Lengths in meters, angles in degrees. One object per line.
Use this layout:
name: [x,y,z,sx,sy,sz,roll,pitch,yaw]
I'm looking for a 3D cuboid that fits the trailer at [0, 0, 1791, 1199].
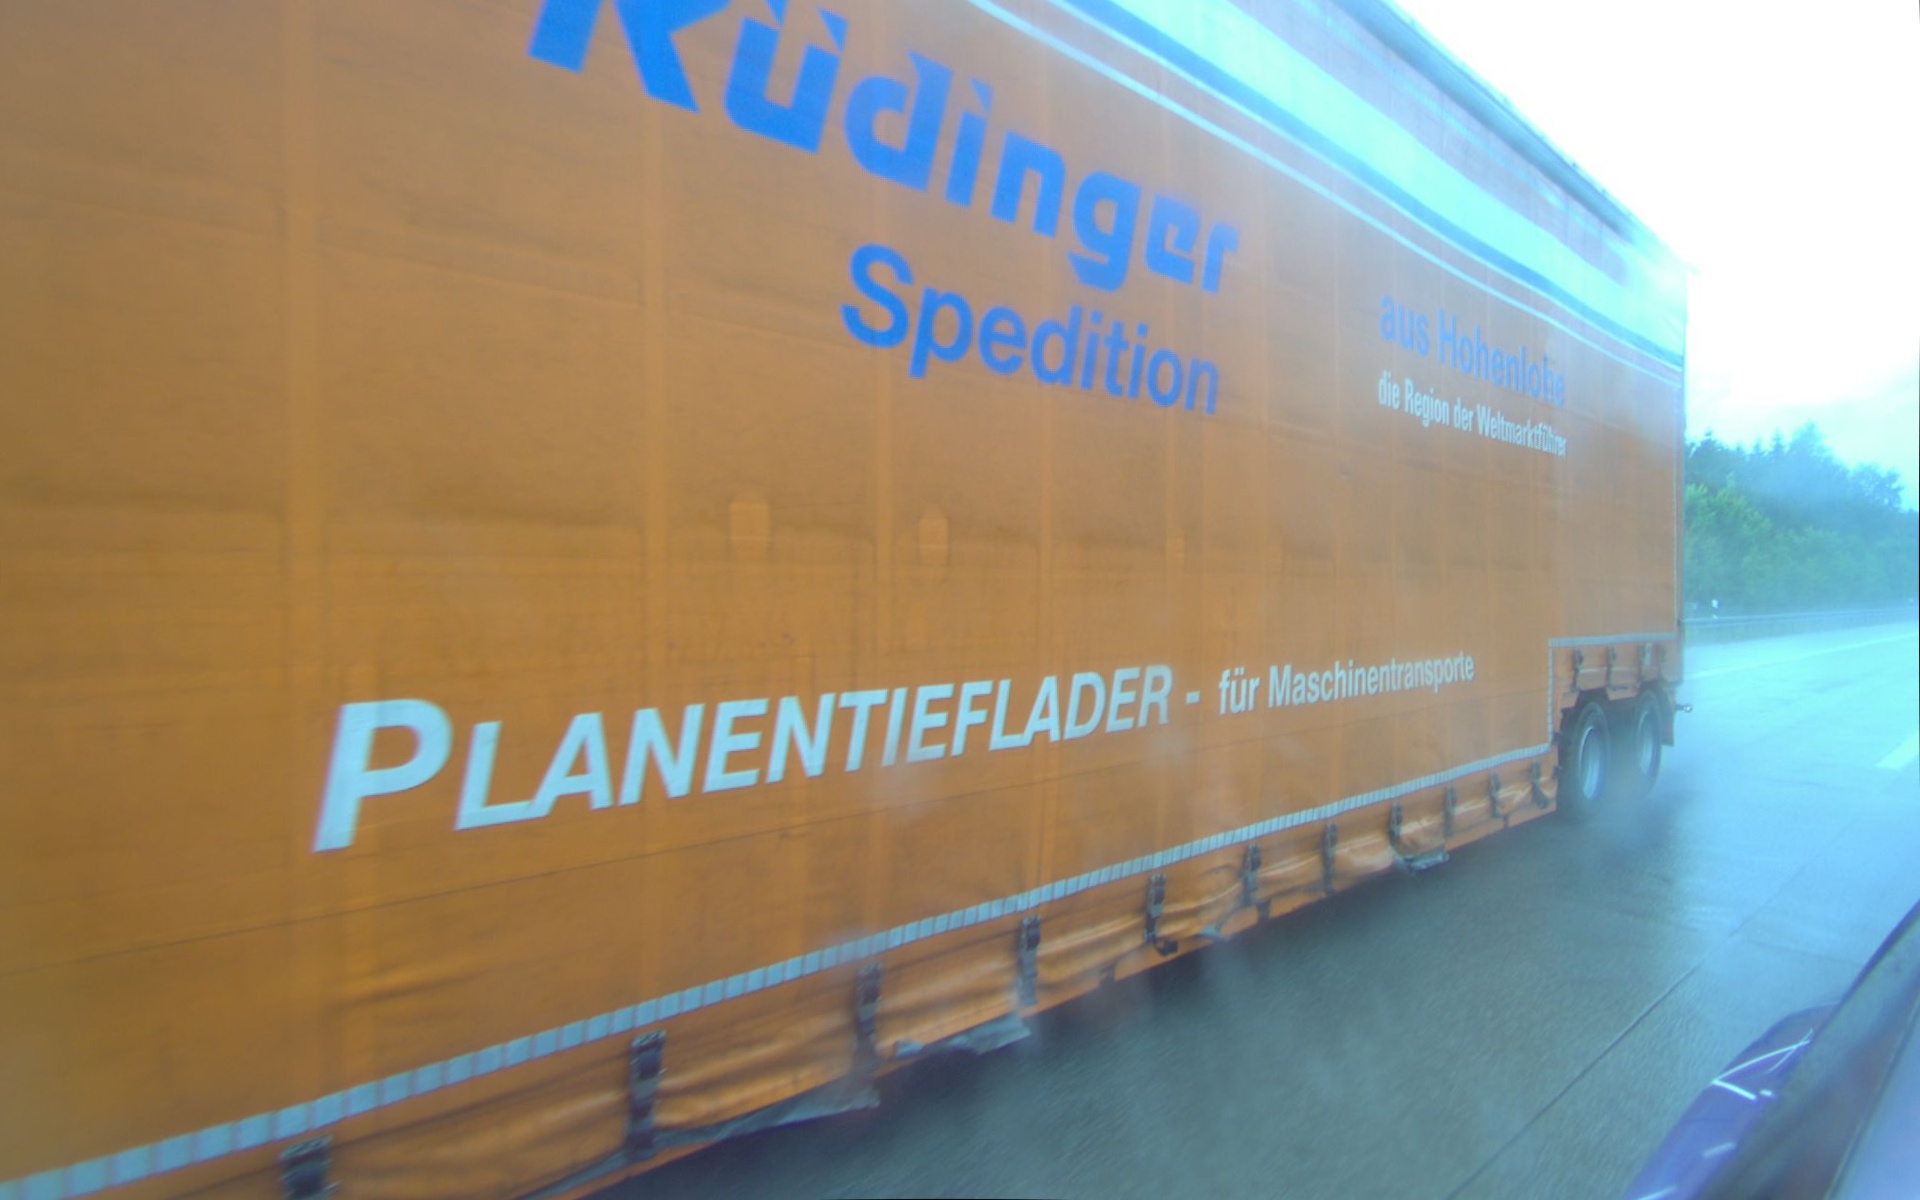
trailer: [1.391,-0.690,5.551,12.778,4.209,2.799,-1,1,-41]
